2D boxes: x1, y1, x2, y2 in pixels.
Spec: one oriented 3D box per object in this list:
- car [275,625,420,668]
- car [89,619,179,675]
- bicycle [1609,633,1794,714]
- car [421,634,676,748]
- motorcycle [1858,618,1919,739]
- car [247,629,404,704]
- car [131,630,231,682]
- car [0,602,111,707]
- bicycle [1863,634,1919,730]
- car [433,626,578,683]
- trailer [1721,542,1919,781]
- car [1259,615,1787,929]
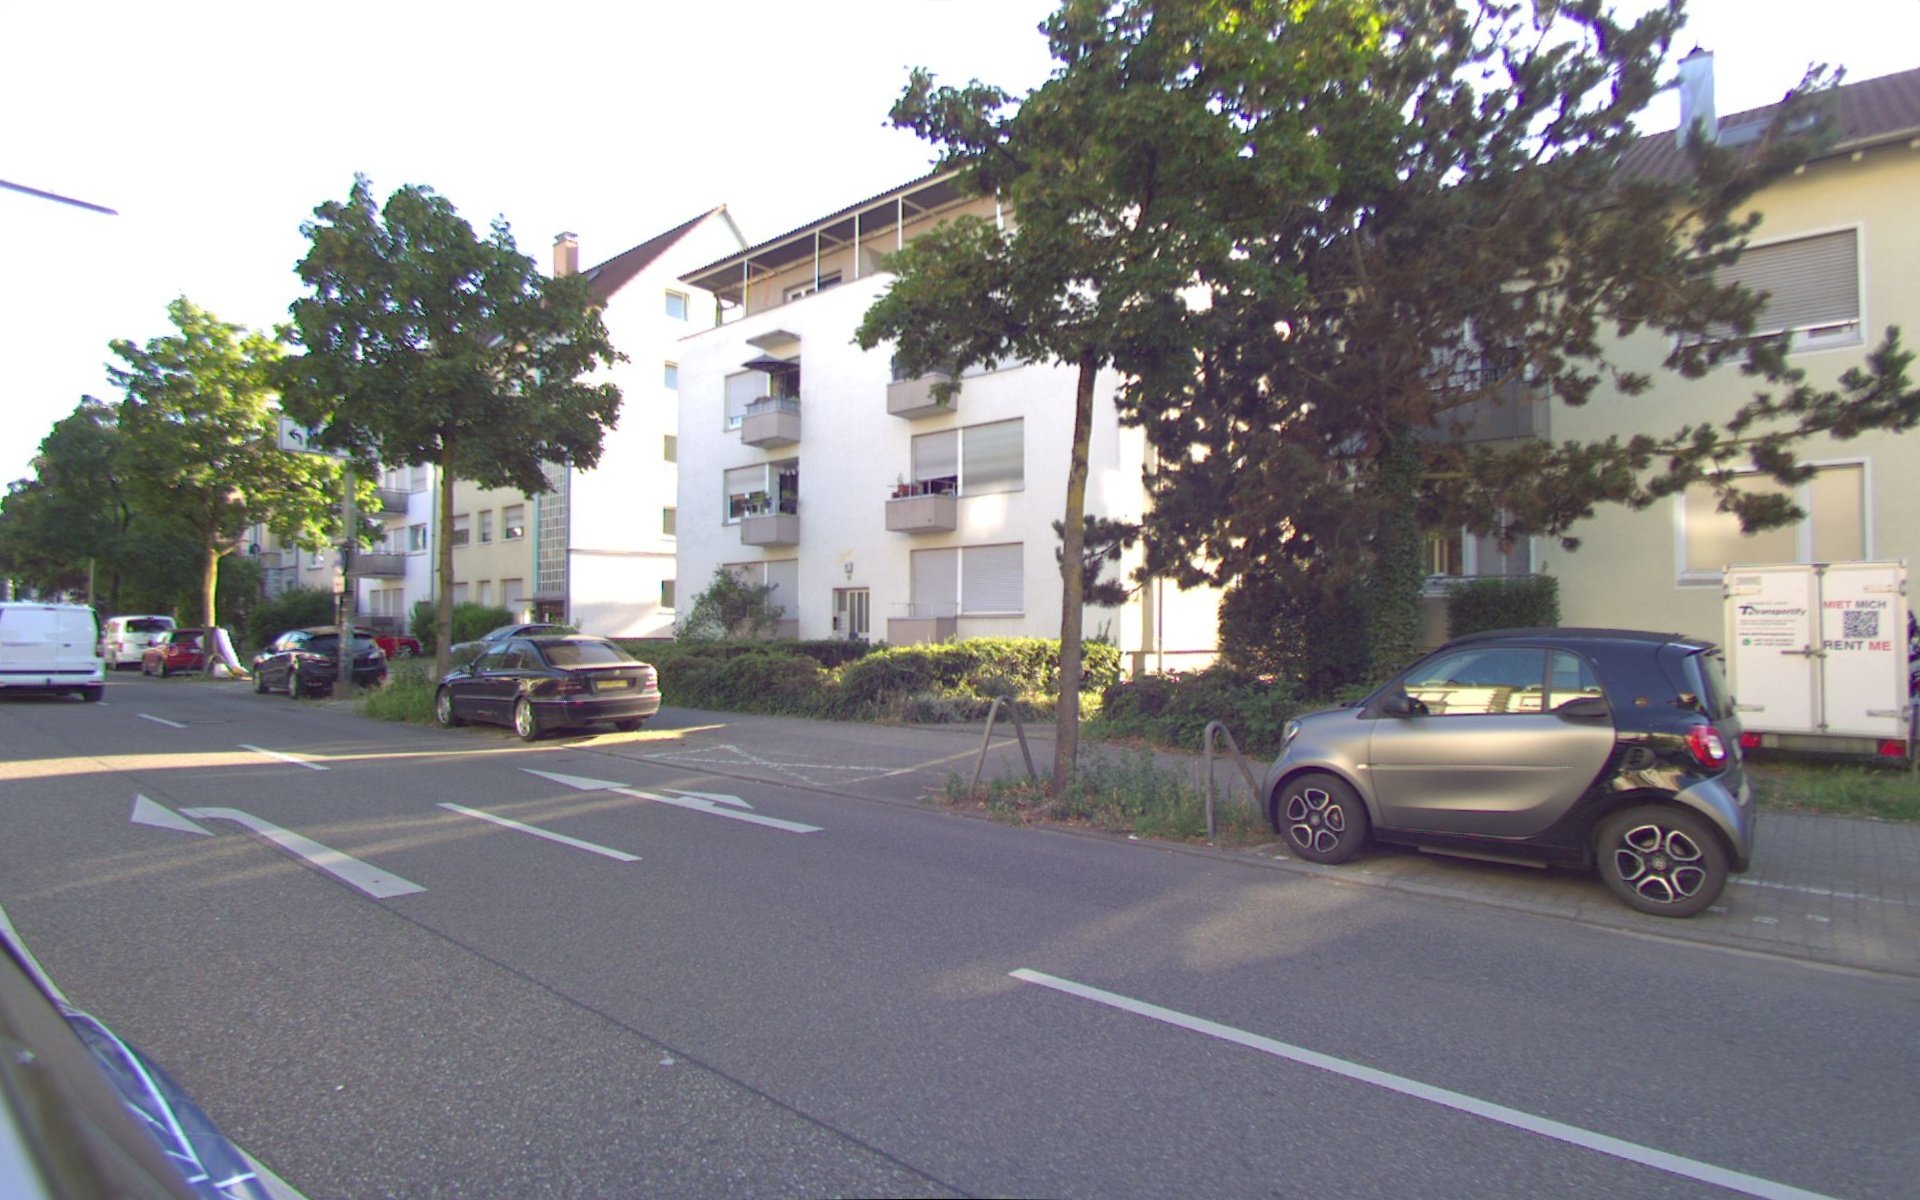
[{"bbox_3d":[-23.393,1.734,38.836,1.735,1.416,4.516,-1,0,31],"label":"car"},{"bbox_3d":[-28.745,1.610,35.188,4.190,1.823,1.717,-1,-2,41],"label":"car"},{"bbox_3d":[10.369,0.997,14.215,2.045,1.072,0.513,-1,-2,41],"label":"bicycle"},{"bbox_3d":[-6.111,1.207,14.772,4.441,1.418,1.620,-1,-2,41],"label":"car"},{"bbox_3d":[11.650,0.898,11.401,2.257,1.384,0.564,-1,-3,41],"label":"motorcycle"},{"bbox_3d":[-14.024,1.408,22.286,3.998,1.497,1.838,-2,-3,41],"label":"car"},{"bbox_3d":[-23.609,1.643,30.624,3.634,1.475,1.717,-1,-2,41],"label":"car"},{"bbox_3d":[-17.947,1.008,19.290,4.427,1.817,1.869,-1,-4,40],"label":"car"},{"bbox_3d":[12.186,0.980,11.929,2.257,1.149,0.564,-1,-2,41],"label":"bicycle"},{"bbox_3d":[-13.036,1.535,29.118,1.686,1.535,3.422,-2,-3,42],"label":"car"},{"bbox_3d":[8.571,0.570,10.021,1.551,2.029,2.745,-1,-3,39],"label":"trailer"},{"bbox_3d":[3.572,0.904,6.569,2.747,1.567,1.557,-1,-2,40],"label":"car"}]
